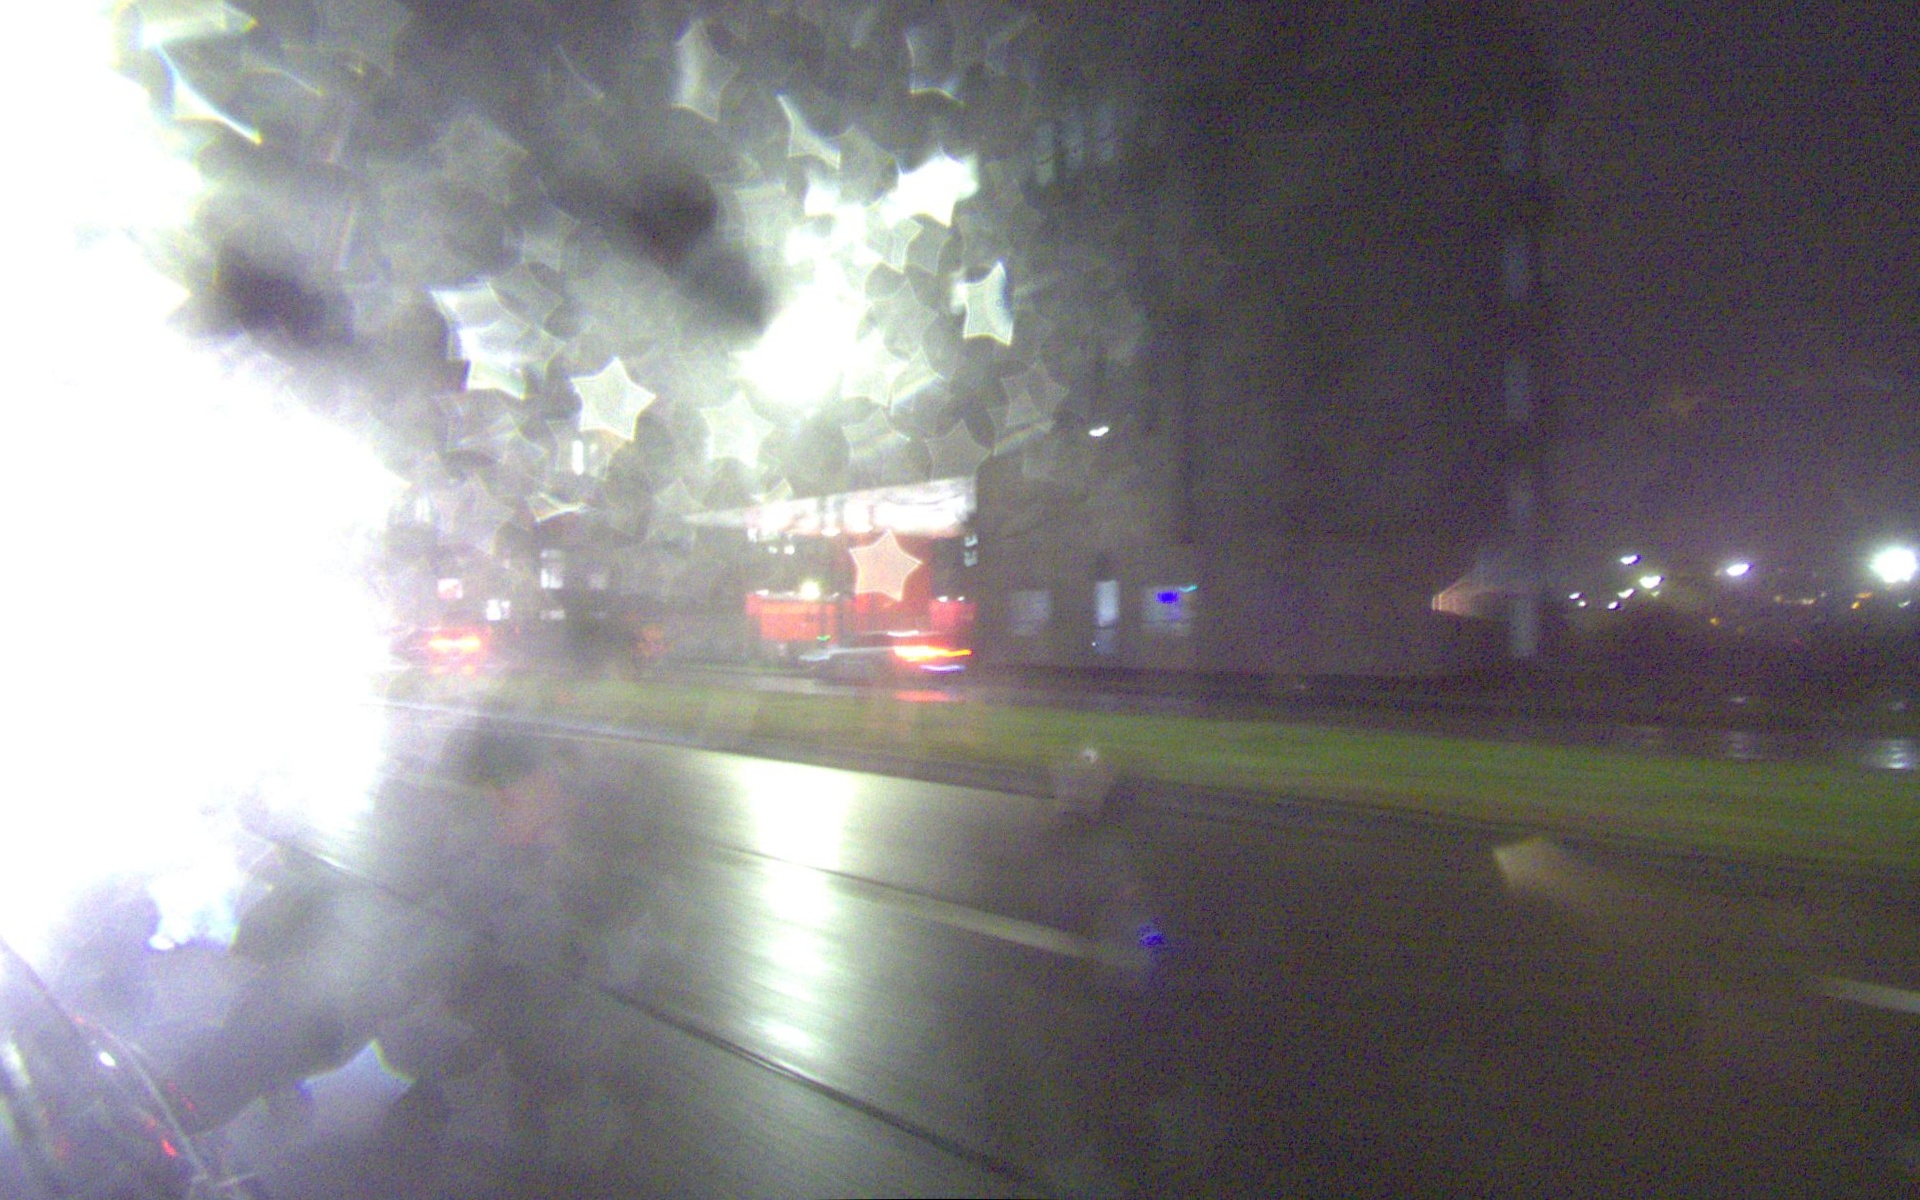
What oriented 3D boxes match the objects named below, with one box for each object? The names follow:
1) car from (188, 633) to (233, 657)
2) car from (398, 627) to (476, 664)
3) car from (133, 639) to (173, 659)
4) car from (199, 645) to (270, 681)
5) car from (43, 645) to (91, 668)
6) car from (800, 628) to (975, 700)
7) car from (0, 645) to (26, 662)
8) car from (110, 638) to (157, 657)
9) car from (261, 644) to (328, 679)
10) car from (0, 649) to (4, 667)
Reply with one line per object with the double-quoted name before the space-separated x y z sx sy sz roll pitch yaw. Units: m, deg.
"car" -54.200 3.254 73.145 4.365 1.604 1.823 -2 -1 43
"car" -23.966 2.059 46.315 4.365 1.604 1.823 -2 -1 43
"car" -68.292 4.156 85.607 4.747 1.604 1.824 -2 -1 41
"car" -33.426 2.867 46.610 4.365 1.498 1.823 -2 -1 43
"car" -69.603 4.376 78.858 5.319 1.604 1.826 -2 -1 38
"car" -1.997 1.623 26.838 4.545 1.697 2.003 -2 -1 41
"car" -93.992 5.268 100.306 3.817 1.589 1.689 -2 -1 40
"car" -63.356 3.601 77.570 5.554 1.369 1.824 -2 -1 40
"car" -33.645 3.070 51.113 4.365 1.604 1.823 -2 -1 43
"car" -89.801 5.305 93.291 4.253 1.605 1.824 -2 -5 40
